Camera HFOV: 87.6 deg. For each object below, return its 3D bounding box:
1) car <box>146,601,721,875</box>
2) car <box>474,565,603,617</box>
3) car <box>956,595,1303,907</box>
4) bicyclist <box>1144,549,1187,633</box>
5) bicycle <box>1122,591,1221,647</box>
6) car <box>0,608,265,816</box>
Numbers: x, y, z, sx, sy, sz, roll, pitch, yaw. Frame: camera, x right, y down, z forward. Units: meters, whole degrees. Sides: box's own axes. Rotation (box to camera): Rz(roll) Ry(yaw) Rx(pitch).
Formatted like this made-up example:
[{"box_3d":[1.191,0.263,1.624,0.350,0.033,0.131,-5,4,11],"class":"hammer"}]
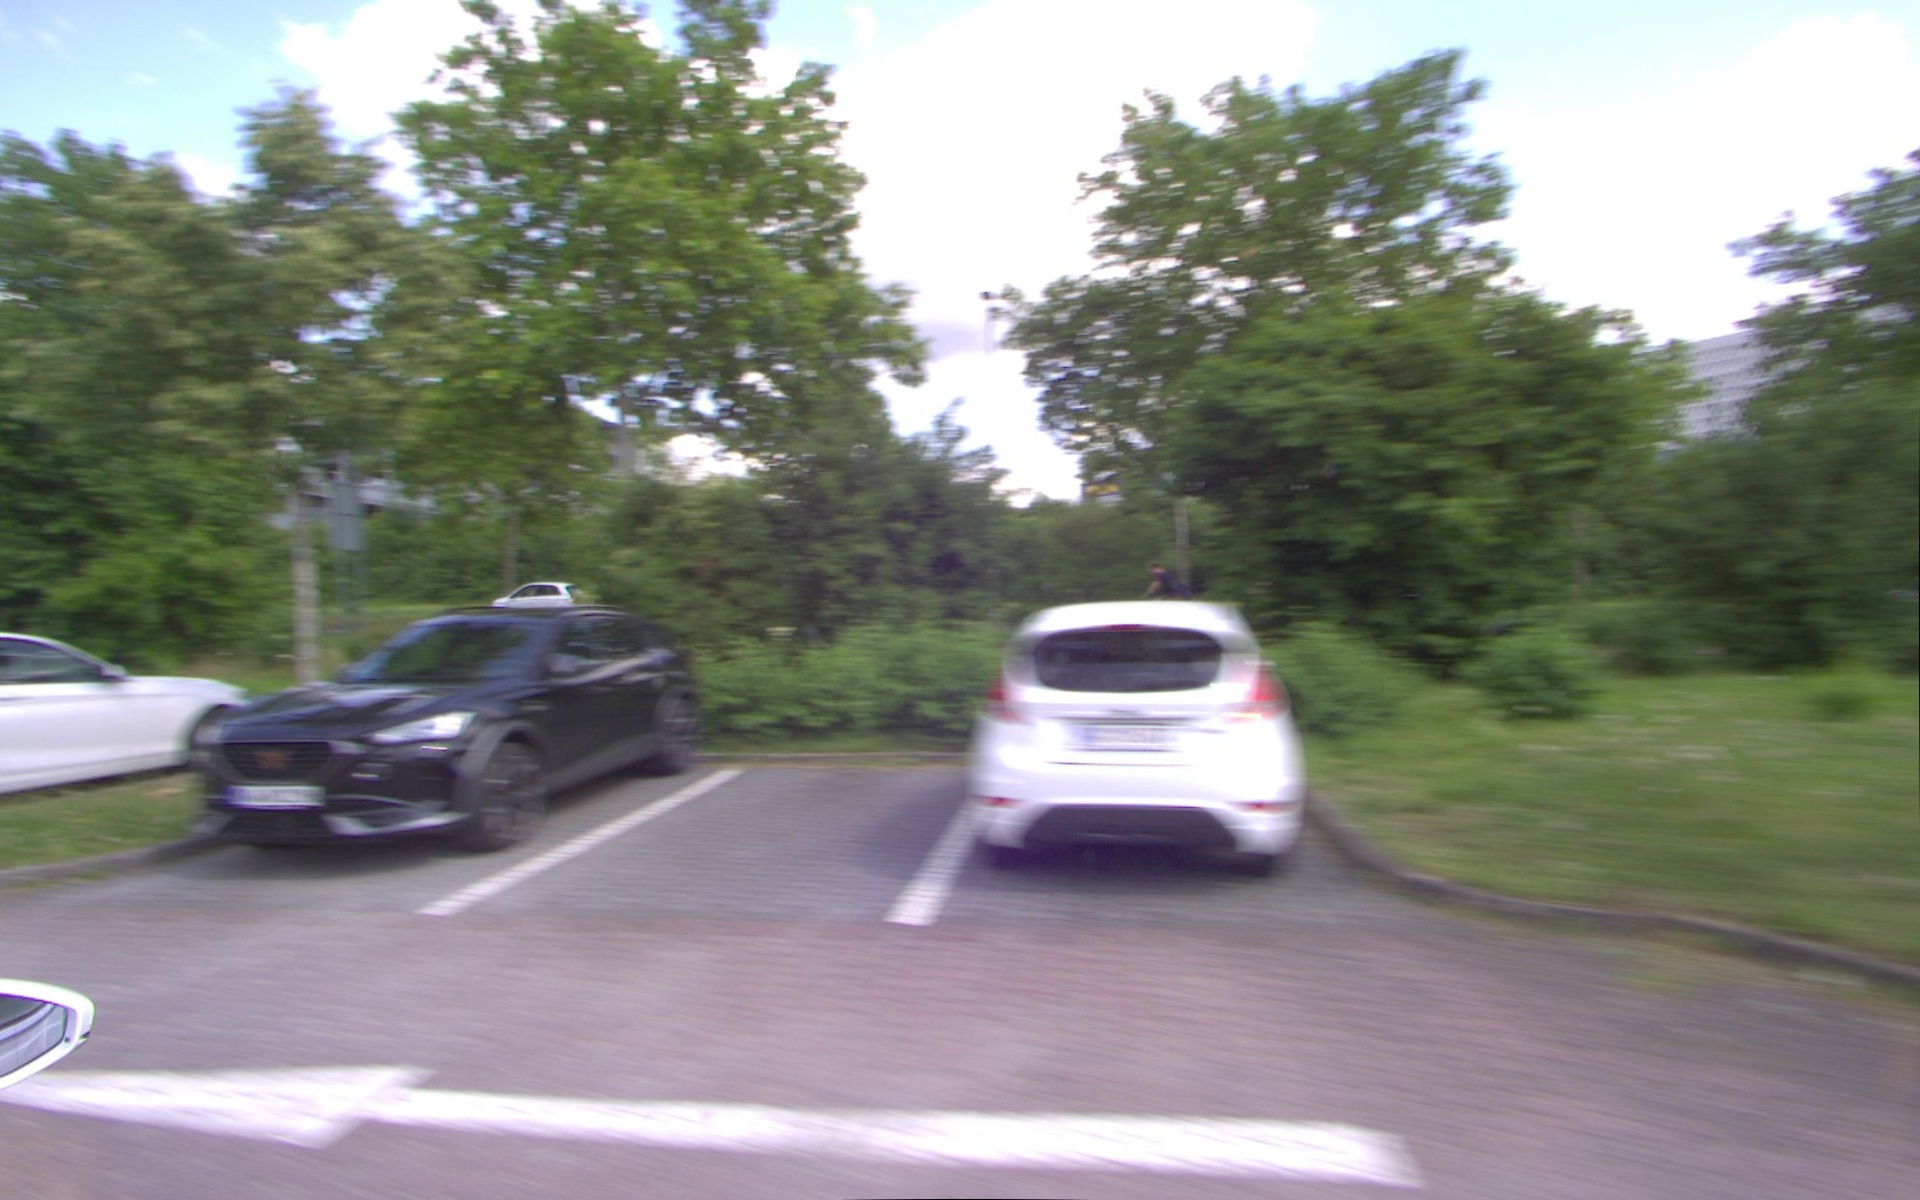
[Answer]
[{"box_3d":[-3.428,0.760,7.610,1.700,1.429,4.240,-1,1,8],"class":"car"},{"box_3d":[-15.704,-0.334,37.406,3.922,1.832,1.999,-1,1,6],"class":"car"},{"box_3d":[1.166,0.705,6.567,1.639,1.430,3.554,-1,1,12],"class":"car"},{"box_3d":[4.033,-0.157,19.715,0.747,1.612,0.636,-1,-1,8],"class":"bicyclist"},{"box_3d":[4.142,0.378,19.698,1.835,1.051,0.528,-1,-1,8],"class":"bicycle"},{"box_3d":[-8.020,0.887,7.965,1.658,1.530,4.078,-2,0,10],"class":"car"}]
